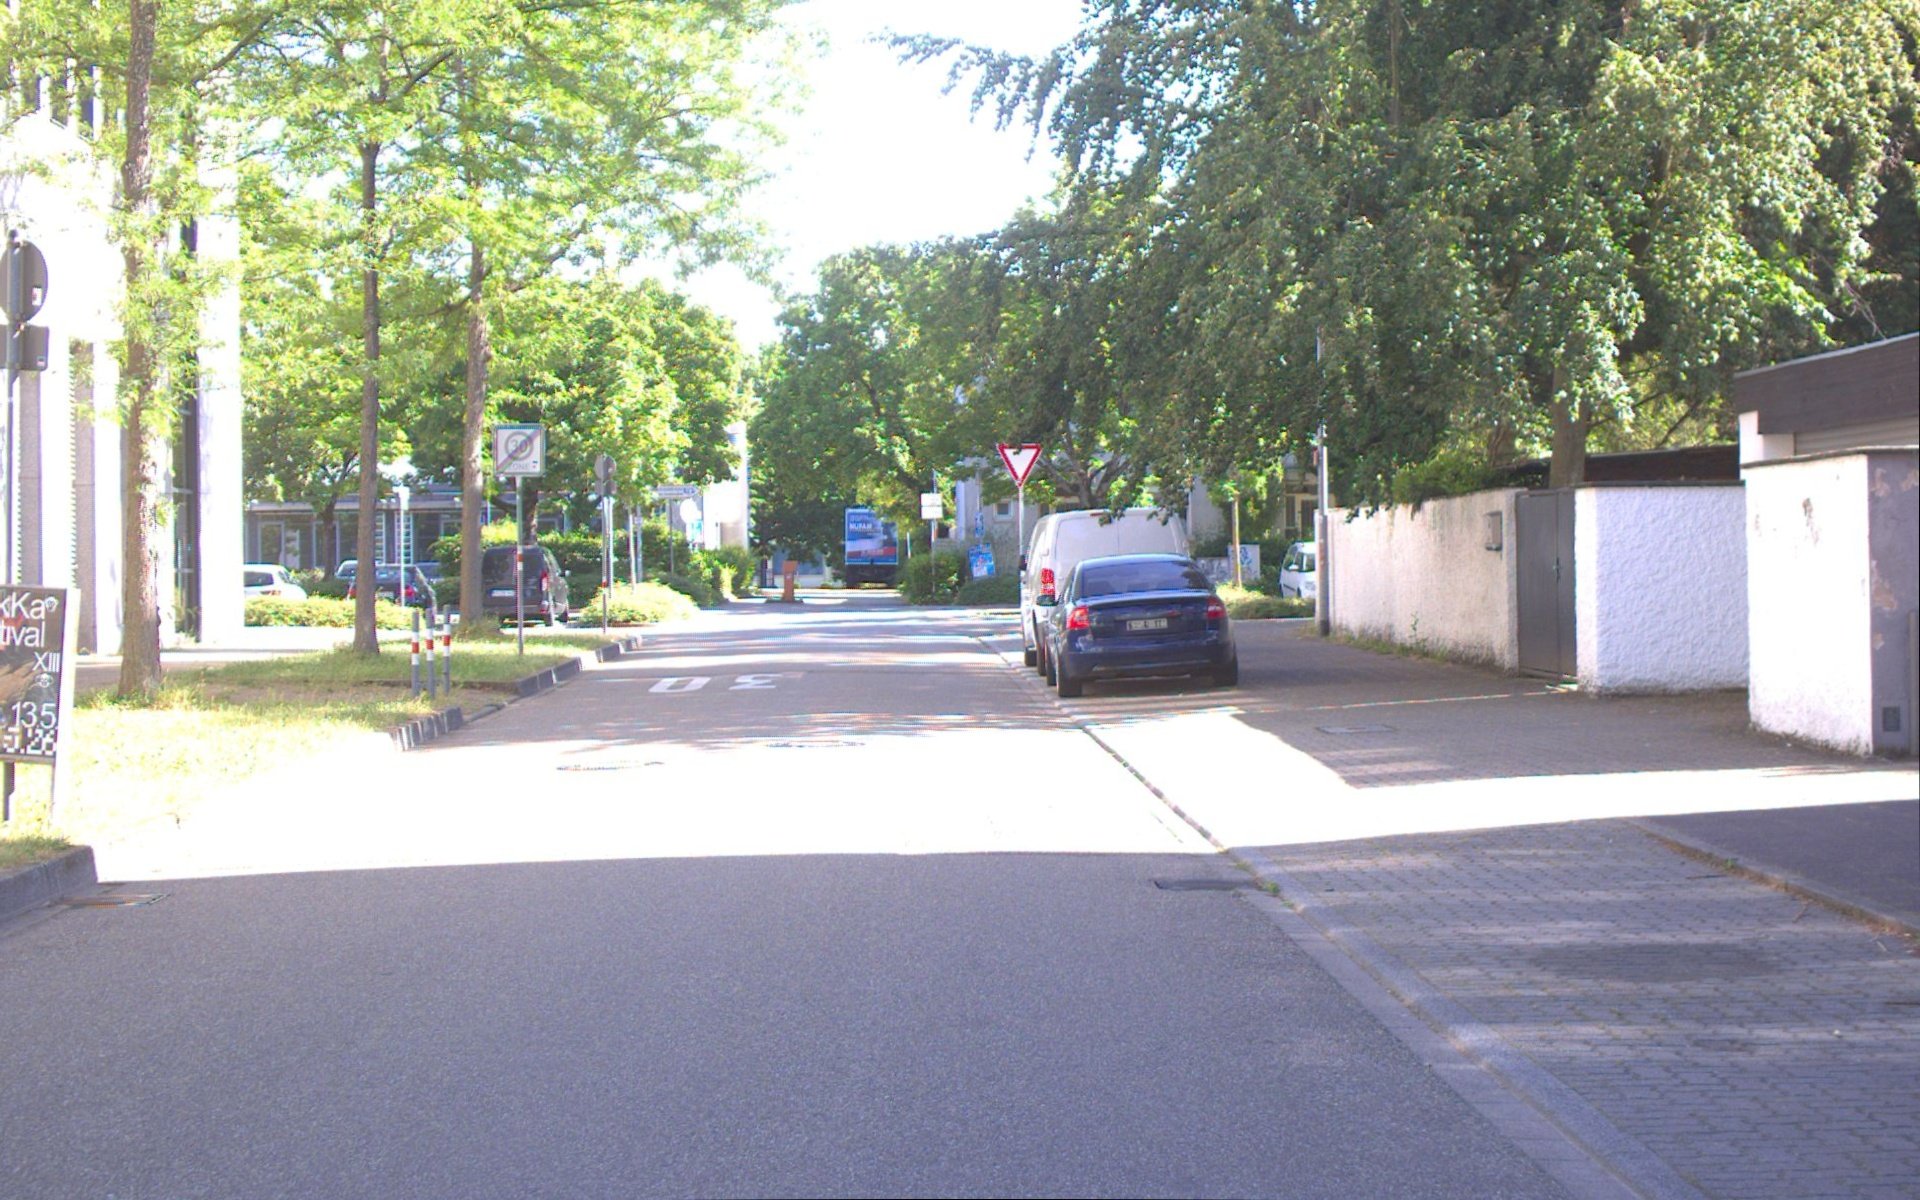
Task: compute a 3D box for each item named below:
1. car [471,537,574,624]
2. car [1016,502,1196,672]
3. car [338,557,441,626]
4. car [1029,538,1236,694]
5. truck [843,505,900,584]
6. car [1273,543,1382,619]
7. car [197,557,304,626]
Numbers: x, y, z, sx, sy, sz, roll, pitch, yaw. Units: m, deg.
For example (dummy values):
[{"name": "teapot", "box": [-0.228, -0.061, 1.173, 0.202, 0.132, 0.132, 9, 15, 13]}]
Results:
[{"name": "car", "box": [-9.874, -0.473, 77.902, 1.874, 1.840, 4.169, -1, 2, -1]}, {"name": "car", "box": [1.728, -0.184, 42.119, 1.898, 1.907, 5.148, -1, 1, -1]}, {"name": "car", "box": [-12.867, -0.214, 77.700, 1.823, 1.401, 4.169, -1, 2, -3]}, {"name": "car", "box": [1.733, 0.128, 35.854, 1.825, 1.418, 4.283, -3, 1, -1]}, {"name": "truck", "box": [-4.414, -2.784, 172.693, 2.760, 3.856, 9.330, 1, 1, -1]}, {"name": "car", "box": [8.326, -0.456, 78.223, 1.823, 1.592, 4.169, -1, 2, -3]}, {"name": "car", "box": [-16.004, -0.202, 77.736, 1.802, 1.431, 3.913, 0, 2, -3]}]
